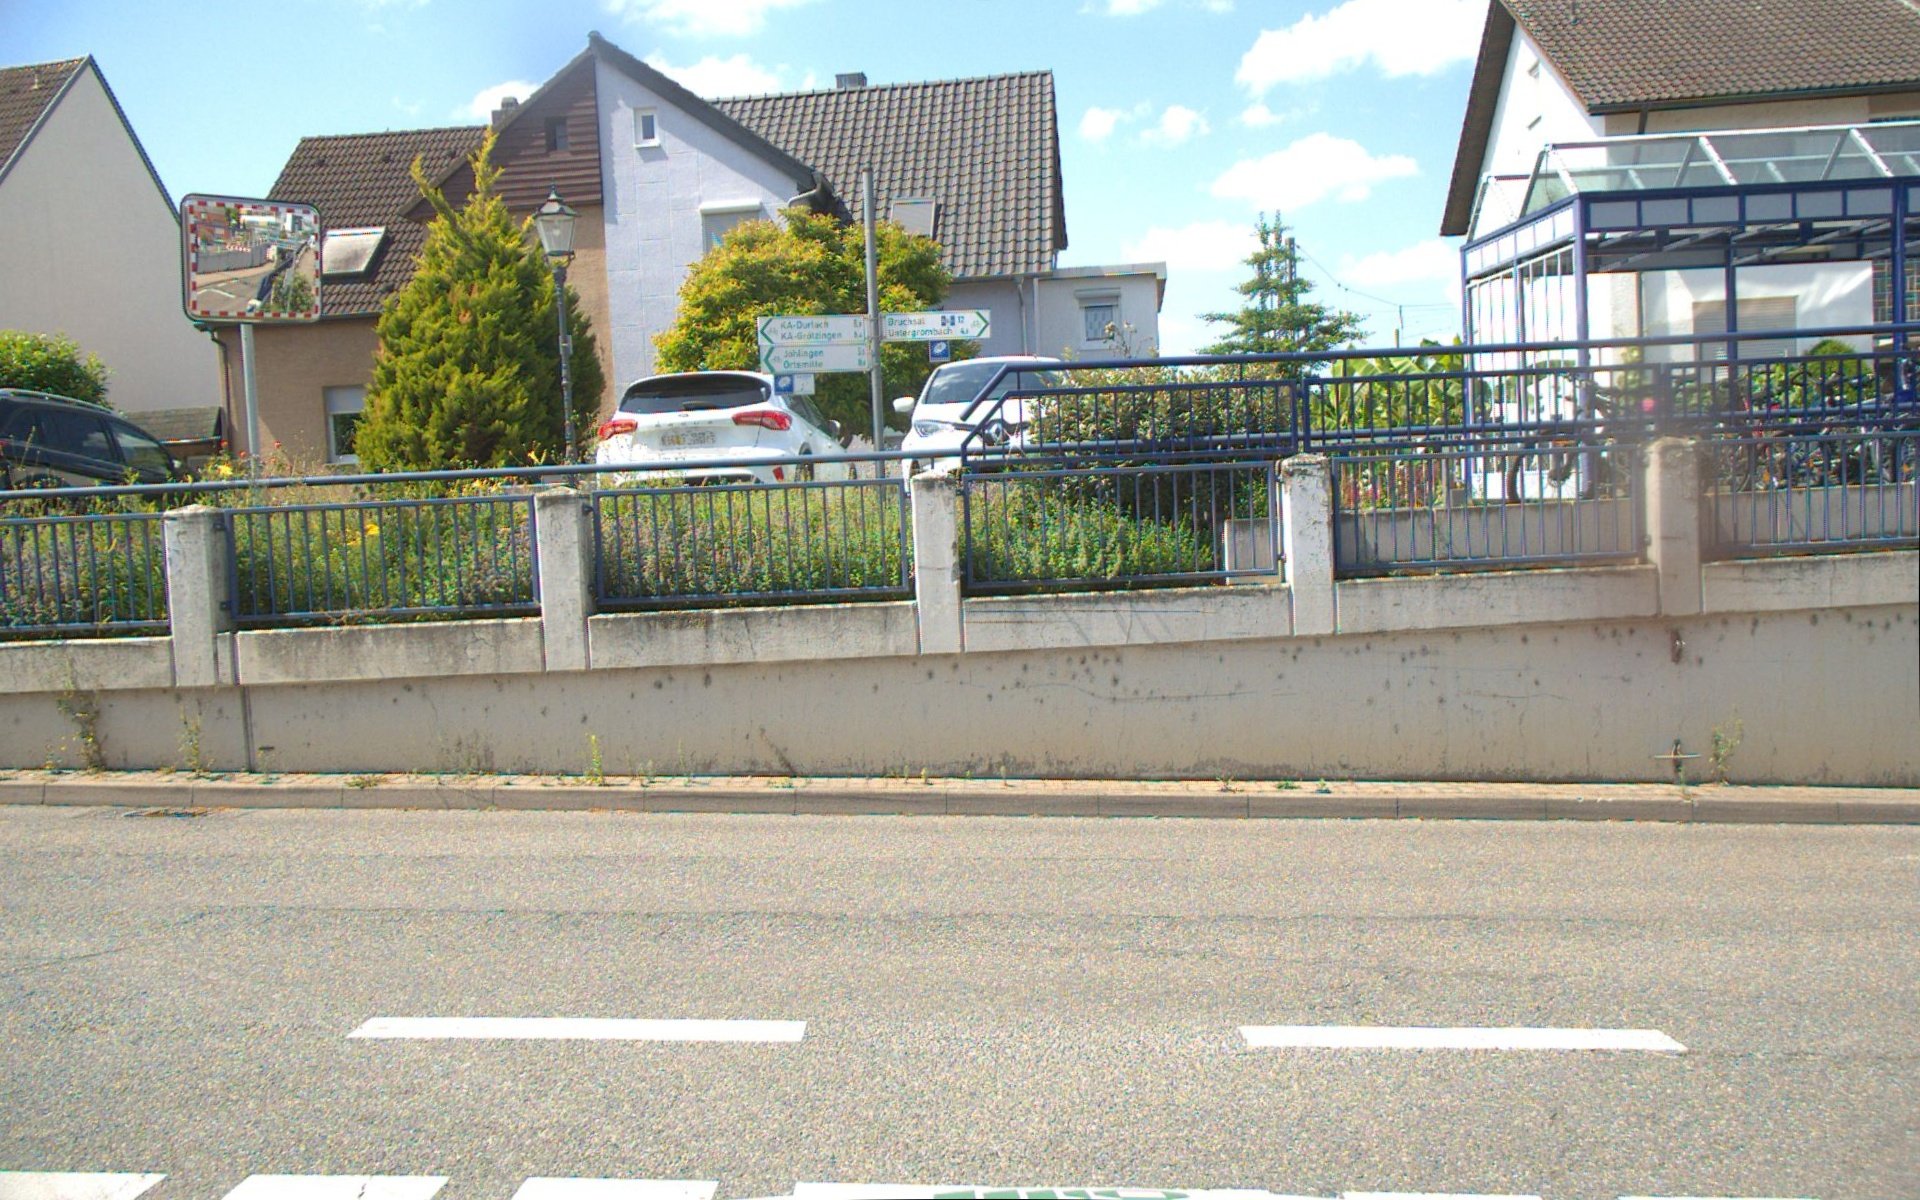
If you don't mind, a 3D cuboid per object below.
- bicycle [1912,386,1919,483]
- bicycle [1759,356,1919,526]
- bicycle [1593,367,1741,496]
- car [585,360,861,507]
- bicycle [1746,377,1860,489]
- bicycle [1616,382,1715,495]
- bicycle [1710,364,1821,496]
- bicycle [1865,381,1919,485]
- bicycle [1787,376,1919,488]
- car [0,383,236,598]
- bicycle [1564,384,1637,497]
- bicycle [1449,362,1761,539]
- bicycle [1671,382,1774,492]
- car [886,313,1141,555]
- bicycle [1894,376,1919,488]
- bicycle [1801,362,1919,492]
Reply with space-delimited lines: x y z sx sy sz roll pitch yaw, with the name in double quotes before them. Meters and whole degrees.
"bicycle" 10.267 -1.698 16.455 0.405 1.012 1.966 -2 3 -1
"bicycle" 6.784 -1.139 11.726 2.072 1.145 0.392 -2 3 -2
"bicycle" 6.119 -1.426 14.426 0.325 1.012 2.075 -2 3 -2
"car" -2.032 -1.450 15.138 1.786 1.037 3.461 1 1 4
"bicycle" 8.342 -1.621 16.427 0.365 1.012 1.968 -2 3 8
"bicycle" 6.885 -1.552 16.217 0.365 1.012 1.968 -2 3 8
"bicycle" 6.778 -1.394 13.990 0.426 1.012 2.104 -1 3 15
"bicycle" 9.799 -1.680 16.460 0.464 1.012 1.966 -2 3 -1
"bicycle" 8.969 -1.654 16.583 0.417 1.012 1.967 -2 3 2
"car" -8.943 -0.991 16.053 1.828 1.828 4.003 1 1 4
"bicycle" 6.206 -1.518 16.074 0.445 1.012 1.890 -1 3 15
"bicycle" 4.526 -1.045 11.627 2.072 1.145 0.333 -2 3 -2
"bicycle" 7.628 -1.603 16.619 0.365 1.012 1.968 -2 3 8
"car" 0.559 -1.351 14.987 1.952 1.828 4.199 1 1 4
"bicycle" 8.876 -1.499 14.414 0.426 1.012 2.284 -2 3 7
"bicycle" 7.783 -1.443 14.166 0.426 1.012 2.105 -2 3 10
